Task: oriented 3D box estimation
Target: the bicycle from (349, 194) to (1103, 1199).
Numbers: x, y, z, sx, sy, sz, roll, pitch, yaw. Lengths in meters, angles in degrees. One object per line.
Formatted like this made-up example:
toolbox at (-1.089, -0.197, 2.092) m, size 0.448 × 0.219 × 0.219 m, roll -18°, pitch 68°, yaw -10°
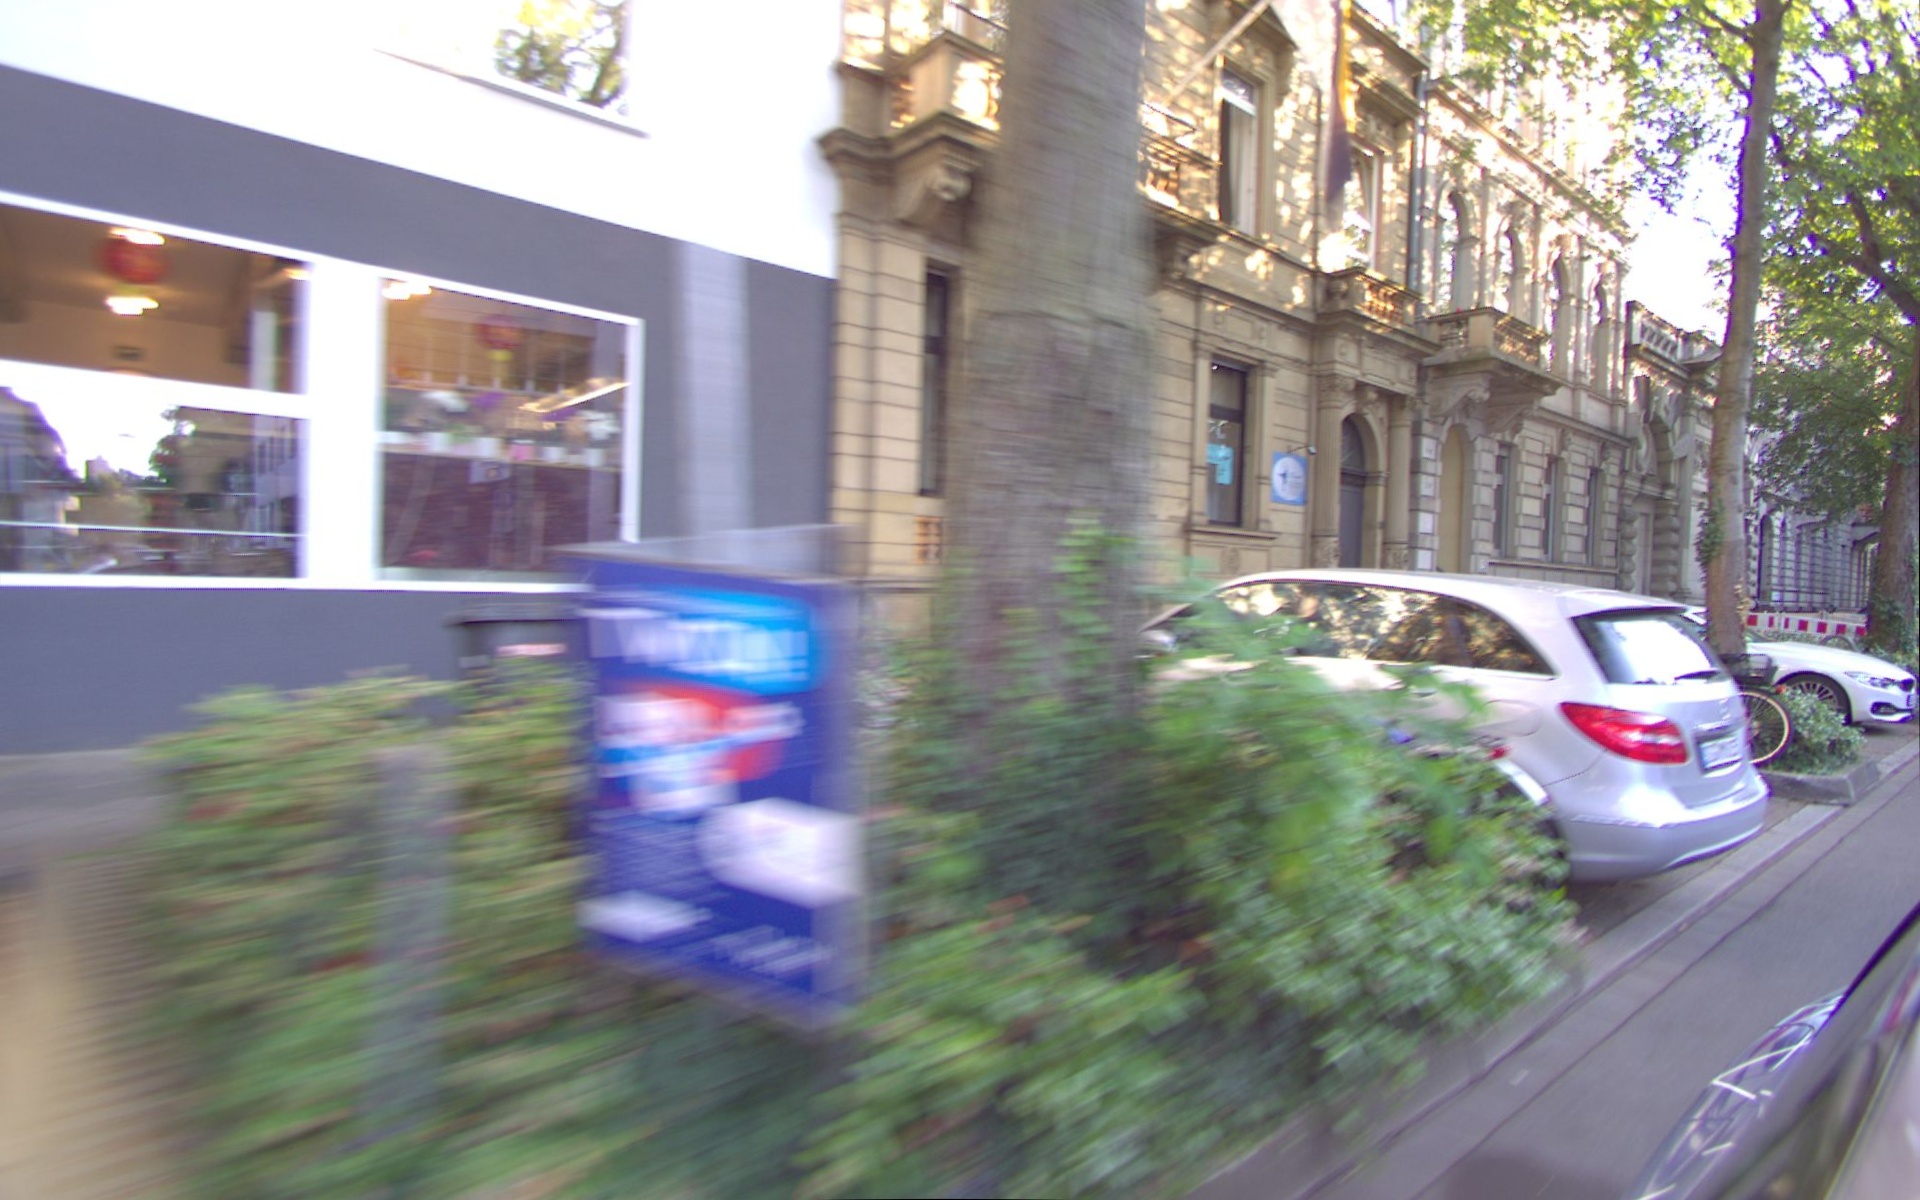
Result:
bicycle at (-1.025, 0.155, 2.980) m, size 0.647 × 1.684 × 3.116 m, roll 1°, pitch 1°, yaw -44°

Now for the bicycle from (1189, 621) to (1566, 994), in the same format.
bicycle at (1.673, 0.746, 4.227) m, size 0.480 × 1.219 × 1.340 m, roll 1°, pitch 2°, yaw -40°

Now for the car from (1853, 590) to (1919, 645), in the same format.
car at (29.209, 0.636, 29.672) m, size 1.821 × 1.498 × 4.236 m, roll 1°, pitch 4°, yaw -40°

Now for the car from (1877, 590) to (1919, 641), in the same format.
car at (33.859, 0.609, 34.205) m, size 1.733 × 1.708 × 4.017 m, roll 1°, pitch 2°, yaw -40°

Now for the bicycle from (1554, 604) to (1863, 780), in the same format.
bicycle at (6.340, 0.726, 8.698) m, size 2.016 × 1.218 × 0.482 m, roll 5°, pitch 3°, yaw 38°

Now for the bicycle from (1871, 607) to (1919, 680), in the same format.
bicycle at (18.688, 0.841, 19.203) m, size 0.499 × 1.378 × 2.049 m, roll 1°, pitch 0°, yaw -41°

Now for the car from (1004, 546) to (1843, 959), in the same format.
car at (2.375, 0.520, 6.215) m, size 1.934 × 1.579 × 4.238 m, roll 1°, pitch 2°, yaw -37°

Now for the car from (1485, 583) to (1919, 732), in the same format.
car at (9.678, 0.596, 13.229) m, size 1.890 × 1.455 × 4.597 m, roll 1°, pitch 2°, yaw -38°

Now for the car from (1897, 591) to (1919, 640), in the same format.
car at (36.014, 0.667, 35.413) m, size 1.933 × 1.738 × 4.451 m, roll 0°, pitch 4°, yaw -40°
